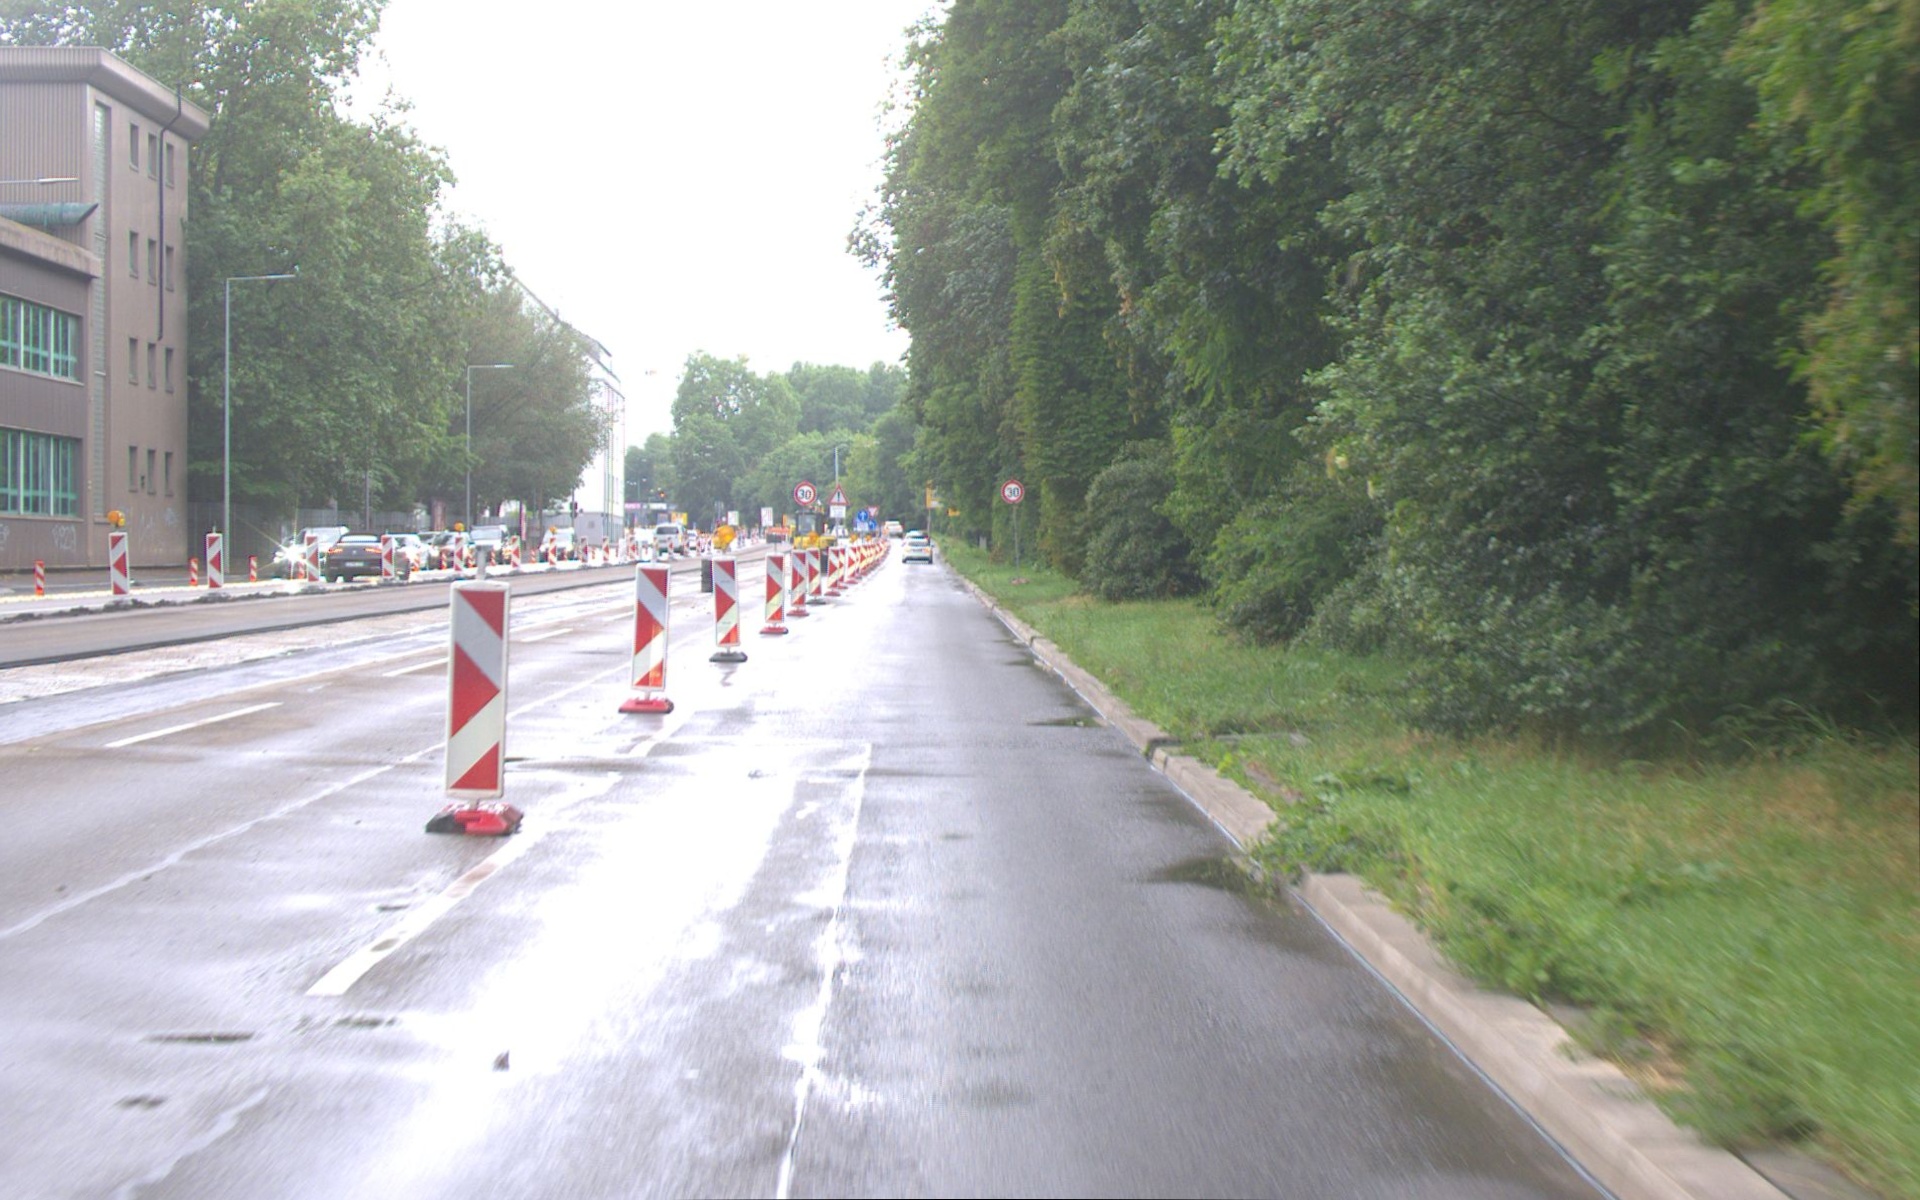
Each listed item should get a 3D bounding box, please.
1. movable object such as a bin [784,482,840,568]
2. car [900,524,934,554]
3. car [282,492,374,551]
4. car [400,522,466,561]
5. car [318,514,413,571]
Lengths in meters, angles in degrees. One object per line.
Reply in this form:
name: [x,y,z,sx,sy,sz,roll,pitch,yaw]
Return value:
movable object such as a bin: [-5.923,-3.014,138.145,1.993,3.356,5.983,1,1,-1]
car: [-2.535,-3.609,203.194,1.993,1.667,4.000,1,1,-1]
car: [-19.924,-2.478,108.551,1.989,1.762,4.675,1,1,1]
car: [-21.160,-2.339,138.129,1.894,1.496,4.516,1,1,1]
car: [-16.450,-1.606,95.322,1.993,1.514,4.000,1,1,-1]
